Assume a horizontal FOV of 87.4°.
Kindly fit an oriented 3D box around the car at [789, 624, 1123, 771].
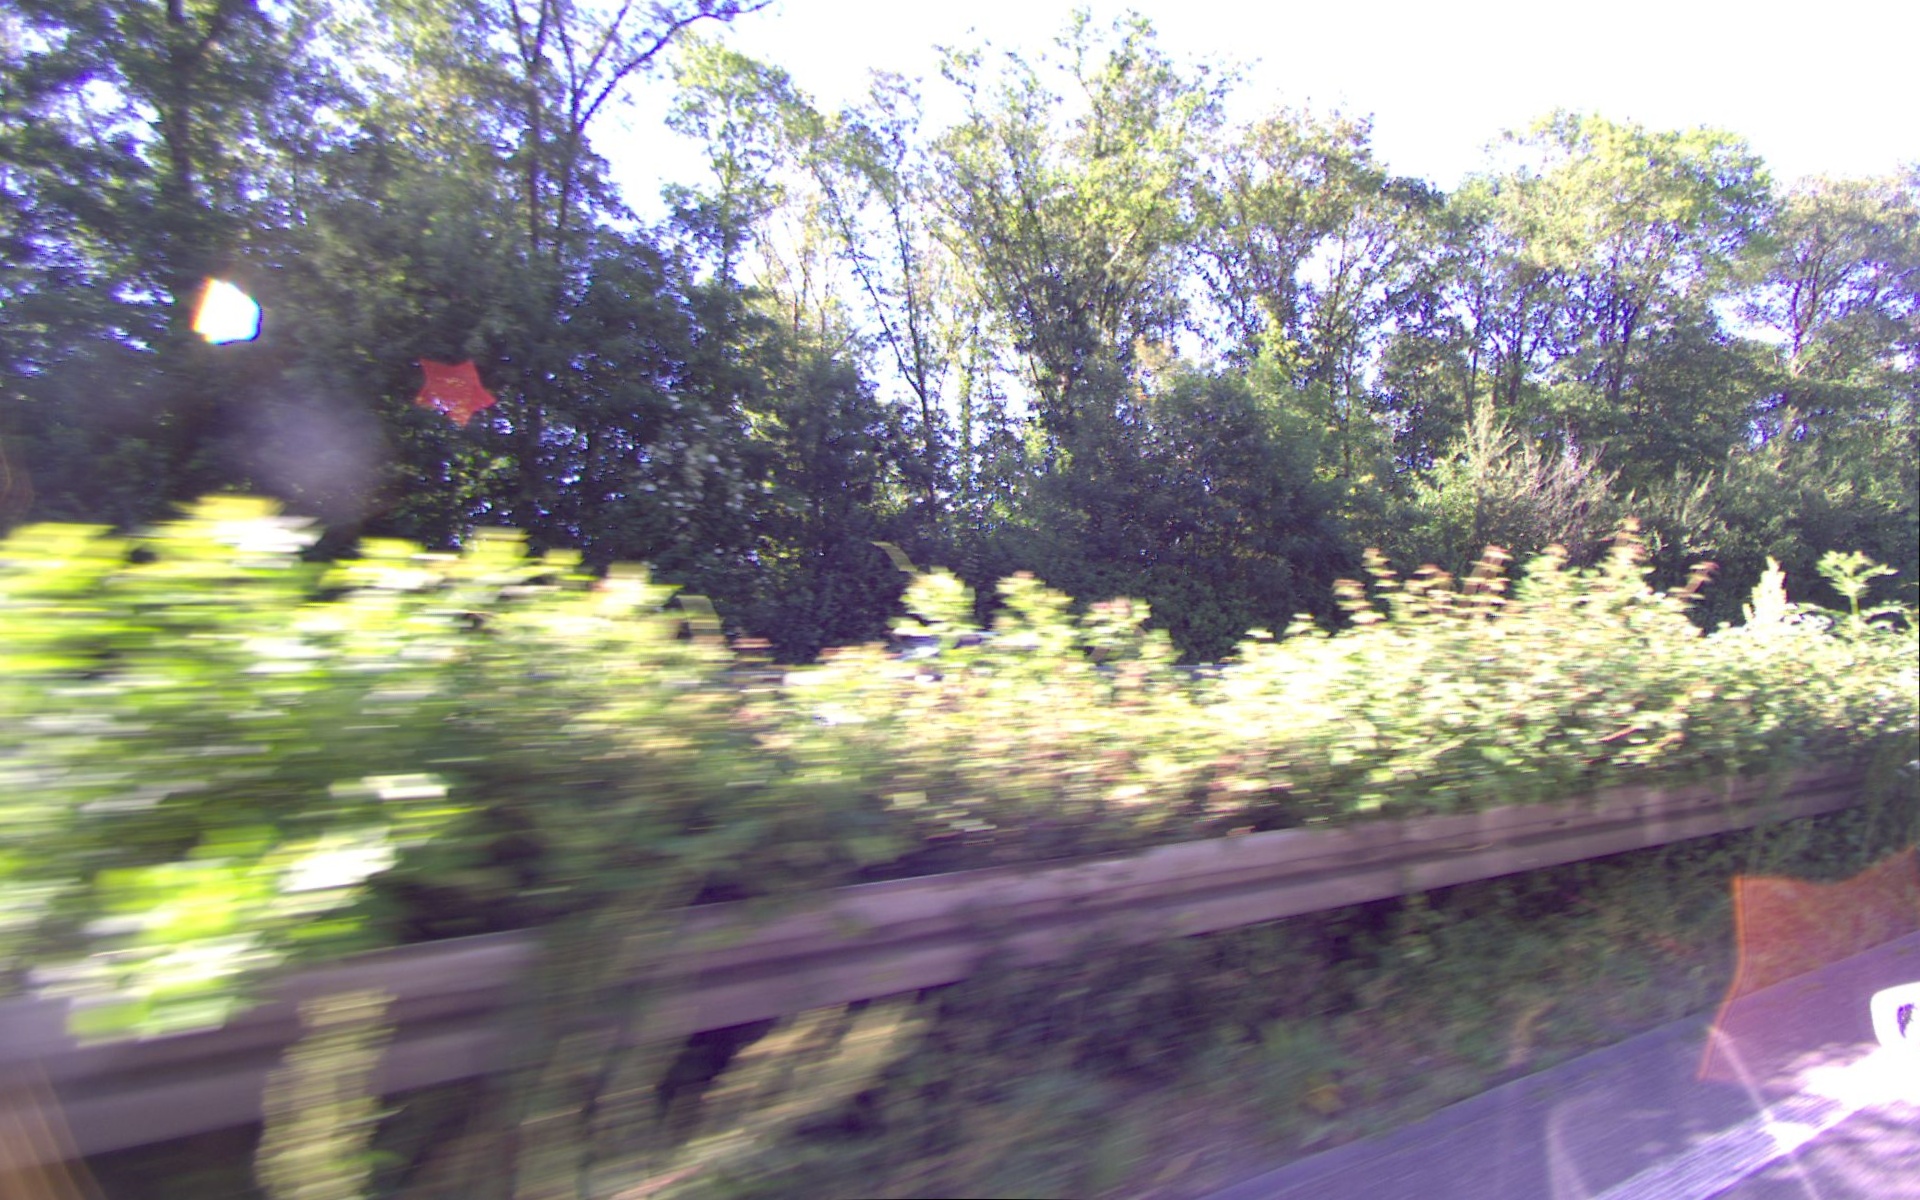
[{"bbox_3d":[-0.016,1.173,13.089,3.953,1.595,1.838,2,0,-30],"label":"car"}]
